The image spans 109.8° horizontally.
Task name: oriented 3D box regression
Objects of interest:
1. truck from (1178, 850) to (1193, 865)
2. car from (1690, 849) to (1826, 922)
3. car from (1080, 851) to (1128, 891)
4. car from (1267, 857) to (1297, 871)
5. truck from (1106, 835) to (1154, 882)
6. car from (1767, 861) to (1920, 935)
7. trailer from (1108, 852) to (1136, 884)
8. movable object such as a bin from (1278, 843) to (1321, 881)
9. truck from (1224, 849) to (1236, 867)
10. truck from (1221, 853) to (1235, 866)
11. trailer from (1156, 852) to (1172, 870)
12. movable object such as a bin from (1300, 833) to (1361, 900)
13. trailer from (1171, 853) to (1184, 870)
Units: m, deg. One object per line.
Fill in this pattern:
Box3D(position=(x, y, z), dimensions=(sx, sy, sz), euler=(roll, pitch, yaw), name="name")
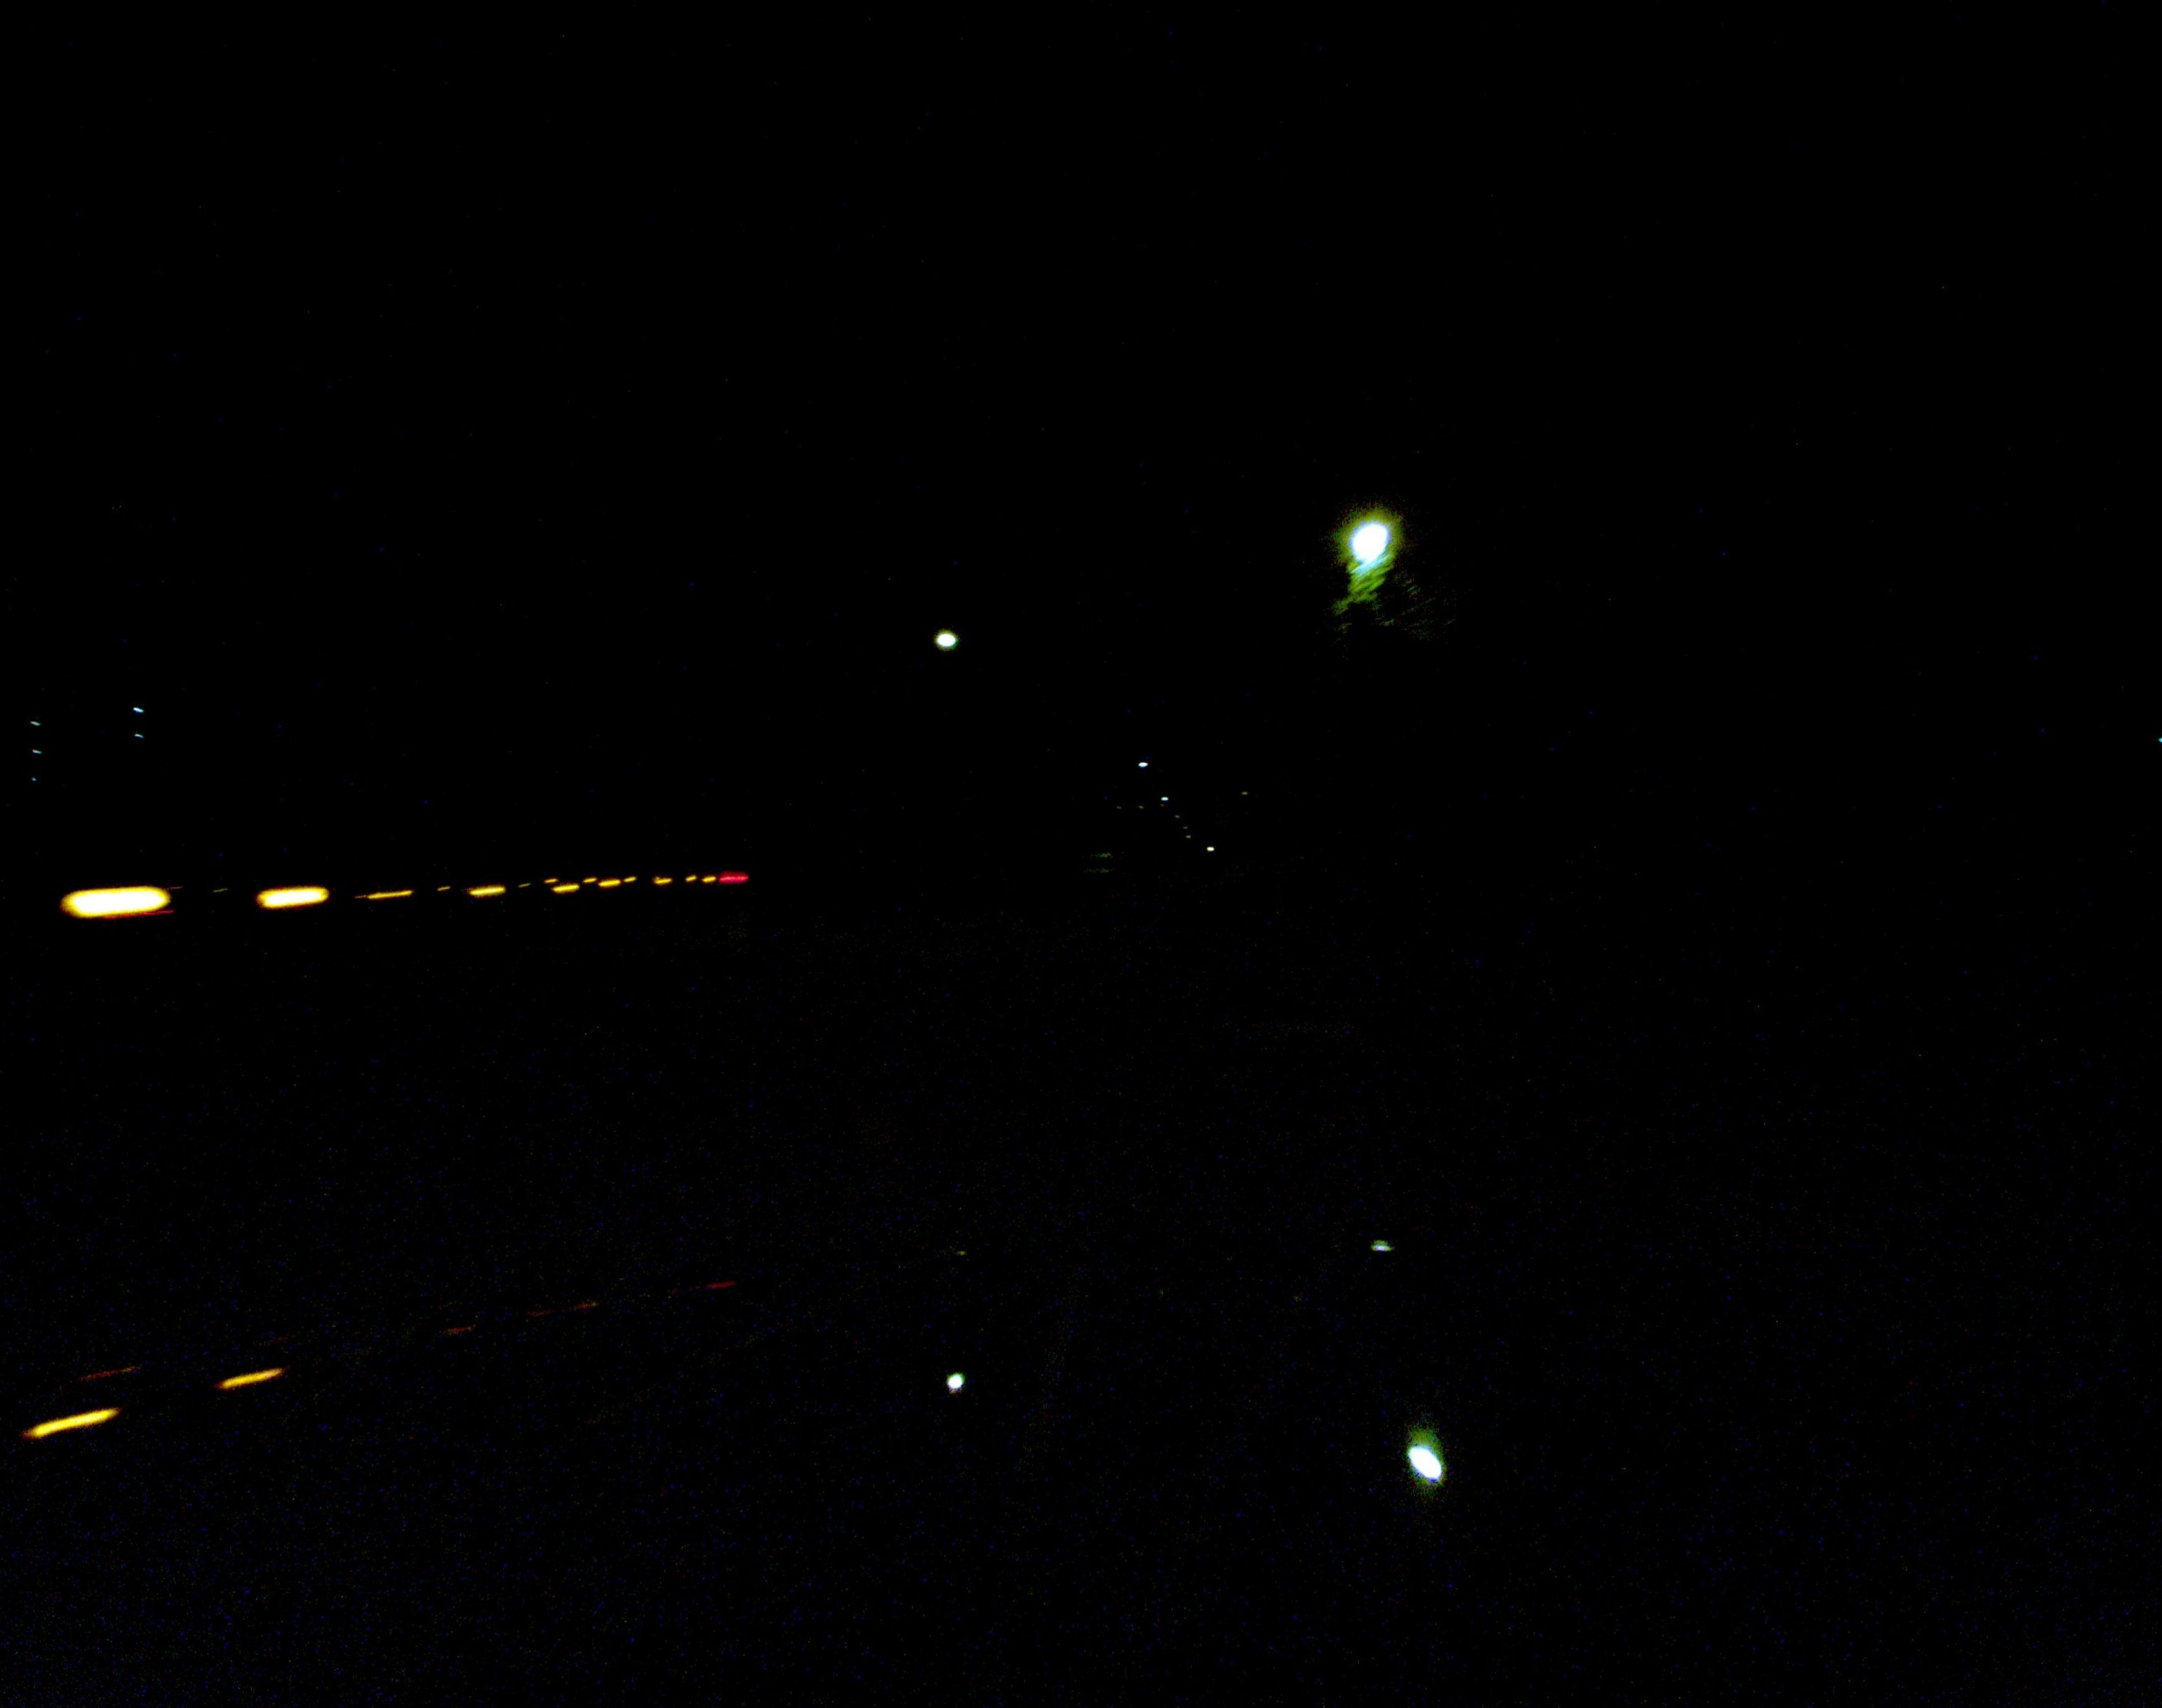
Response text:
Box3D(position=(28.198, 1.009, 204.420), dimensions=(2.513, 3.814, 12.673), euler=(-3, -1, 14), name="truck")
Box3D(position=(26.273, 1.177, 29.743), dimensions=(1.996, 2.539, 4.488), euler=(-3, -1, 14), name="car")
Box3D(position=(1.706, 1.164, 52.948), dimensions=(2.112, 2.501, 6.378), euler=(-3, -1, 12), name="car")
Box3D(position=(32.058, 1.571, 121.235), dimensions=(4.440, 1.960, 2.002), euler=(-3, -1, 9), name="car")
Box3D(position=(4.696, 0.401, 70.449), dimensions=(3.330, 3.845, 9.335), euler=(-3, -1, 9), name="truck")
Box3D(position=(29.097, 1.591, 29.245), dimensions=(1.996, 2.539, 4.488), euler=(-3, -1, 14), name="car")
Box3D(position=(3.417, 1.128, 62.696), dimensions=(1.635, 2.458, 5.032), euler=(-3, -1, 10), name="trailer")
Box3D(position=(14.546, 0.530, 50.714), dimensions=(1.553, 2.453, 2.837), euler=(-1, 0, -11), name="movable object such as a bin")
Box3D(position=(38.324, 1.009, 194.864), dimensions=(2.642, 4.289, 12.835), euler=(-1, 0, 12), name="truck")
Box3D(position=(43.072, 1.733, 222.472), dimensions=(2.827, 3.609, 10.408), euler=(-3, -1, 6), name="truck")
Box3D(position=(12.966, 1.113, 118.502), dimensions=(1.997, 2.635, 4.004), euler=(-3, -1, 12), name="trailer")
Box3D(position=(10.689, 0.541, 32.745), dimensions=(1.574, 2.717, 3.702), euler=(0, -1, 3), name="movable object such as a bin")
Box3D(position=(19.482, 1.587, 153.212), dimensions=(2.403, 3.305, 4.365), euler=(-3, -1, 7), name="trailer")
